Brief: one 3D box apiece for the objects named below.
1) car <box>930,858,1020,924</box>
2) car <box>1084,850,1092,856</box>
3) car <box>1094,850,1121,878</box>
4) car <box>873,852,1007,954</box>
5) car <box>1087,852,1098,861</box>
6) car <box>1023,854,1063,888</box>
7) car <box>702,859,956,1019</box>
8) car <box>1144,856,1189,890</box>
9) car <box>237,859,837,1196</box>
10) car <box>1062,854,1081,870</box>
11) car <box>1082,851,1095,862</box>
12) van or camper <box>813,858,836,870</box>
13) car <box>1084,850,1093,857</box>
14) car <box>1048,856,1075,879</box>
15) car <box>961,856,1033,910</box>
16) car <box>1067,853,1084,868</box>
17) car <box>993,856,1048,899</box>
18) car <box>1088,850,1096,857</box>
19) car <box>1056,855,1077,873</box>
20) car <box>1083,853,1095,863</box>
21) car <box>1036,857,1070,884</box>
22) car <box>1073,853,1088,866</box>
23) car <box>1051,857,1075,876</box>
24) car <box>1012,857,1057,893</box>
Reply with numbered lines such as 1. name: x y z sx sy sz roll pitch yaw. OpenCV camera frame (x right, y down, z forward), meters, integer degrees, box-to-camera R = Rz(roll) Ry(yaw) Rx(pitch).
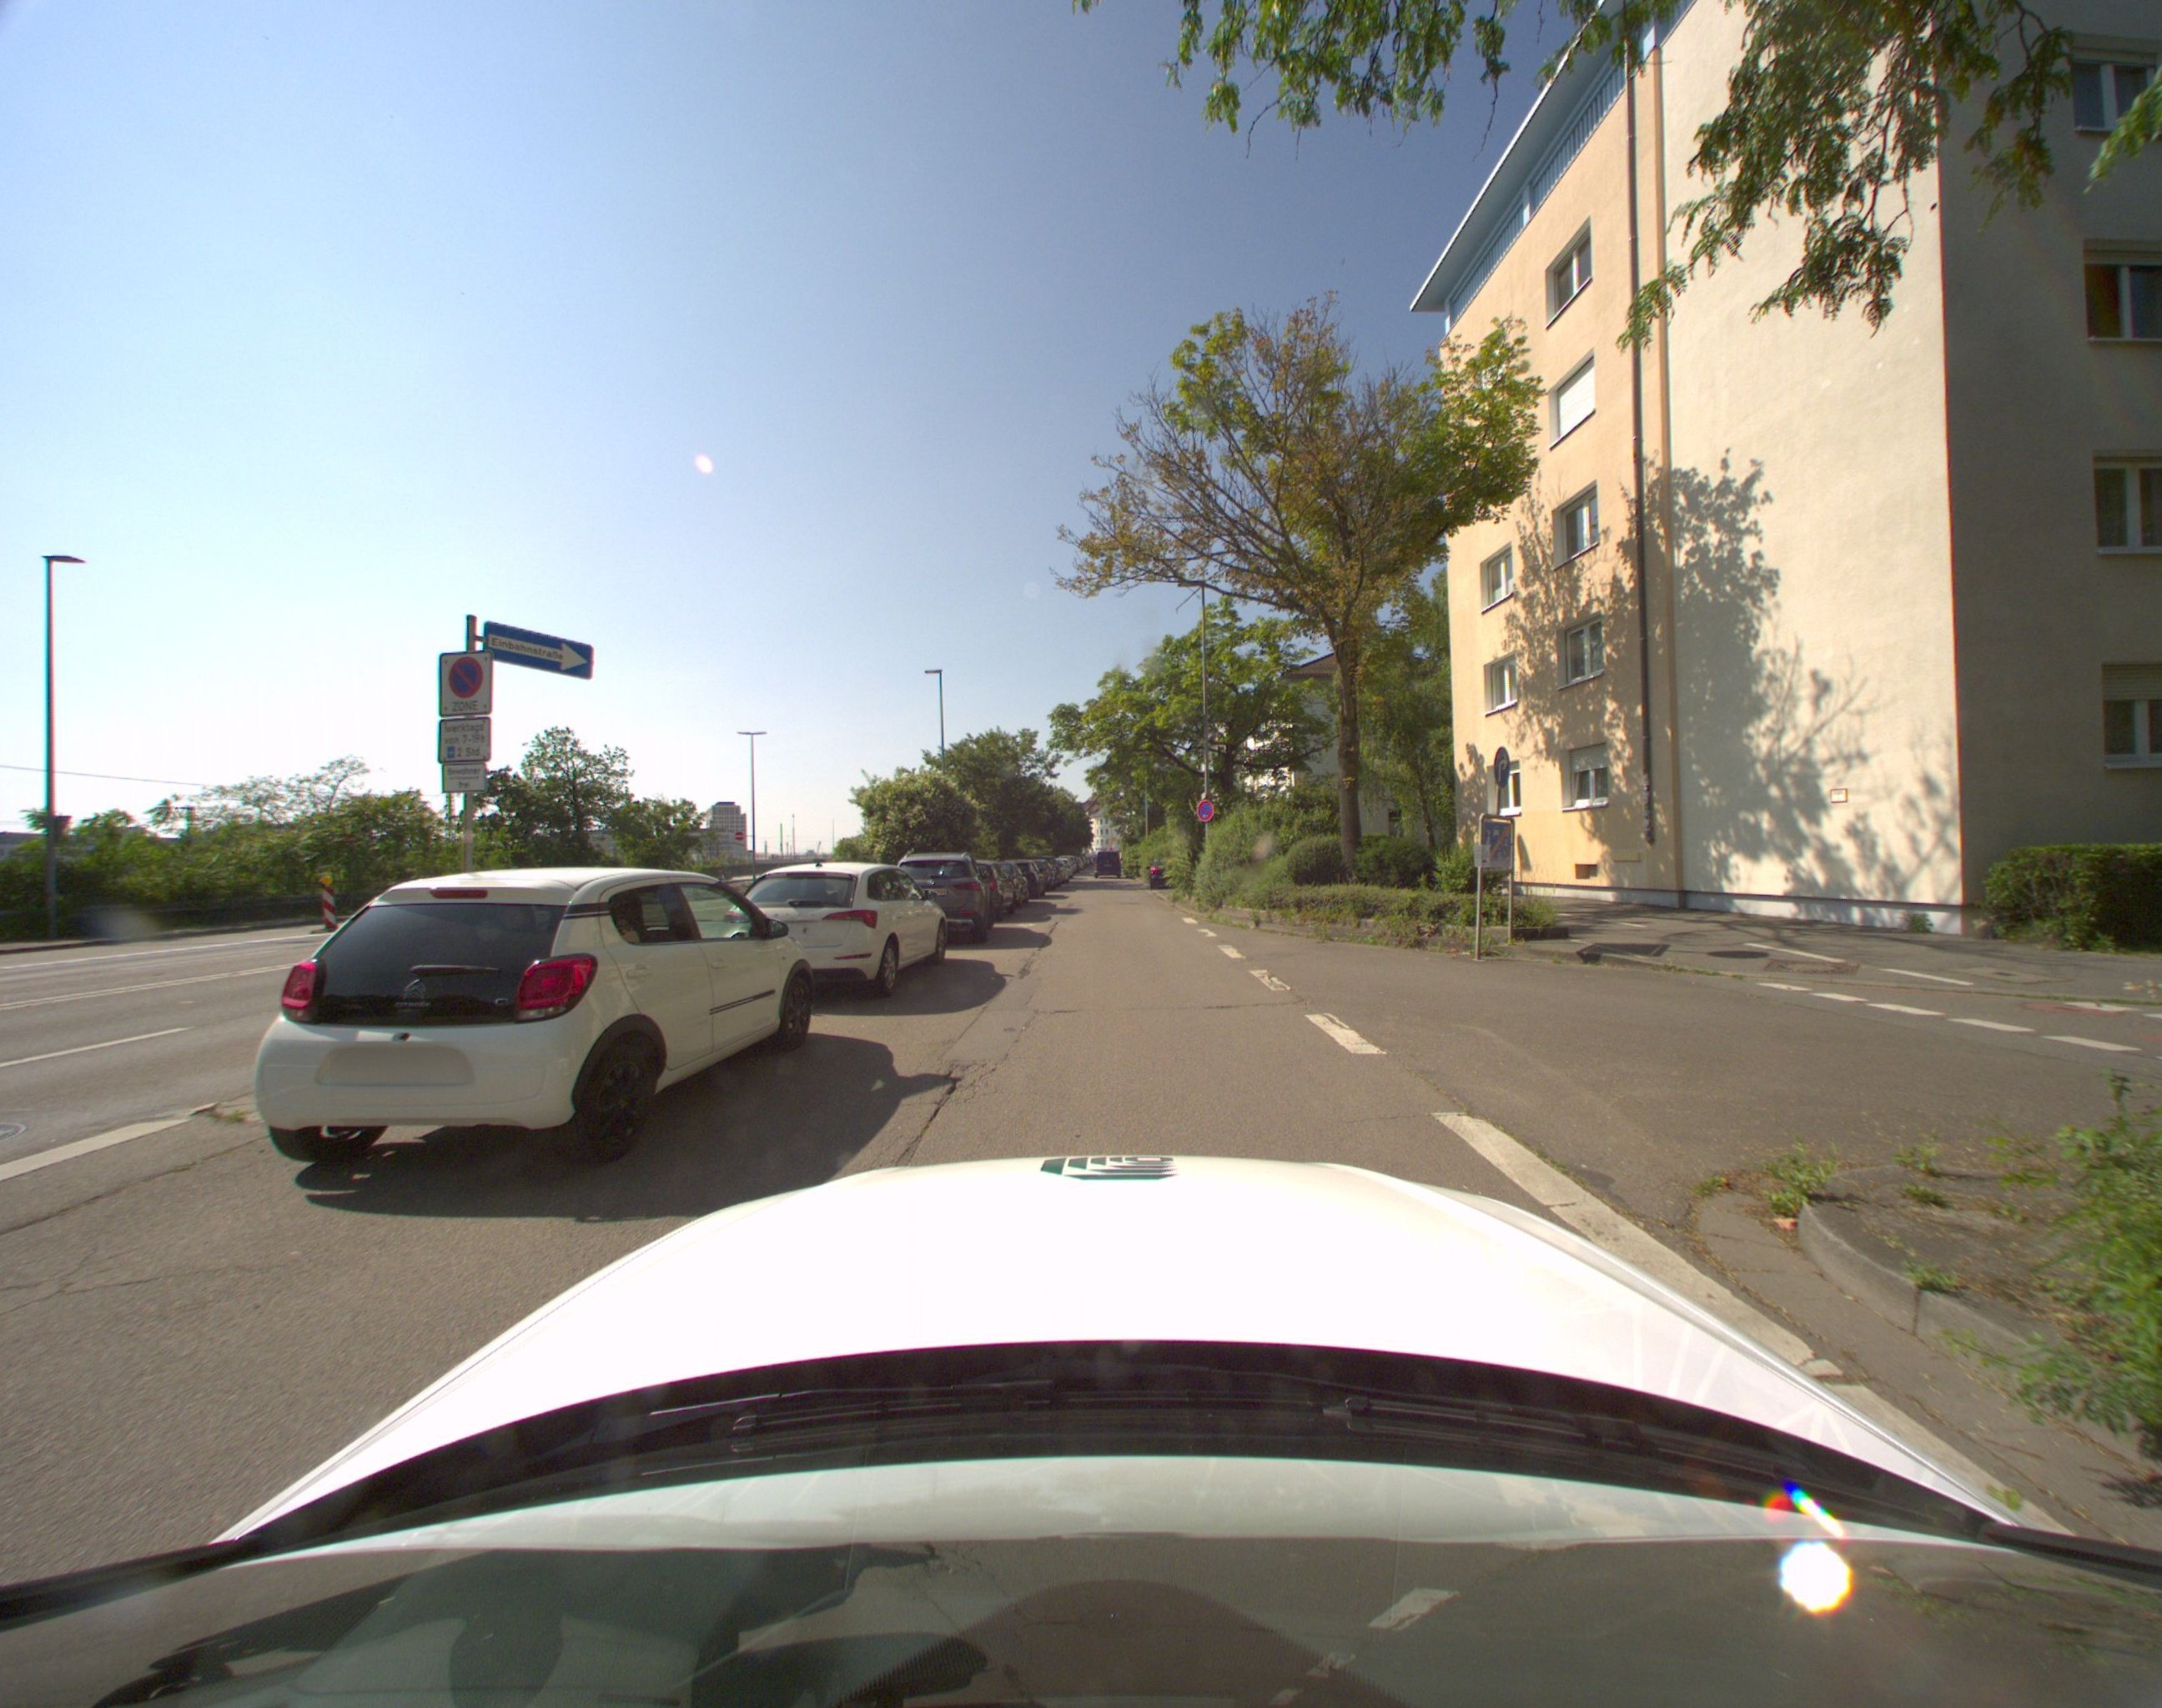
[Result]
1. car: -2.614 0.859 20.876 1.657 1.474 3.878 0 0 2
2. car: 1.858 -0.291 221.230 1.986 1.657 3.741 -1 0 1
3. car: 1.940 0.692 58.639 1.875 1.921 4.010 1 0 2
4. car: -2.525 0.806 15.569 1.766 1.579 4.186 -2 1 0
5. car: 2.168 0.526 153.254 1.986 1.657 4.001 -1 0 1
6. car: -1.916 0.822 41.861 1.657 1.583 3.934 -2 1 2
7. car: -2.805 0.847 10.100 1.714 1.505 4.134 1 0 2
8. car: 3.960 0.842 38.266 1.720 1.420 4.001 -3 0 1
9. car: -3.050 0.818 5.507 1.613 1.505 3.463 -1 0 2
10. car: -0.921 0.781 79.141 1.657 1.509 4.010 1 0 2
11. car: 1.085 0.402 117.937 1.657 1.509 4.010 -1 0 2
12. van or camper: -29.802 1.159 94.704 1.464 1.350 4.623 -2 0 -4
13. car: 1.927 -0.133 208.163 1.986 1.657 4.001 -1 0 1
14. car: -1.351 0.912 57.520 1.657 1.468 4.203 1 0 2
15. car: -2.596 0.868 26.117 1.657 1.511 4.597 1 0 2
16. car: -0.620 0.715 90.289 1.657 1.509 4.010 1 0 2
17. car: -2.250 0.846 31.265 1.657 1.473 3.791 1 0 2
18. car: 2.627 -0.031 196.123 1.986 1.657 4.001 -1 0 1
19. car: -1.258 0.855 73.632 1.657 1.509 4.010 1 0 2
20. car: 1.405 0.697 143.461 1.986 1.657 4.001 -1 0 1
21. car: -1.576 0.923 47.045 1.657 1.407 4.322 1 0 2
22. car: -0.033 0.623 101.220 1.657 1.509 4.010 1 0 2
23. car: -1.477 1.029 68.141 1.657 1.509 4.203 -2 0 2
24. car: -2.068 0.903 37.203 1.657 1.511 3.791 1 0 2
